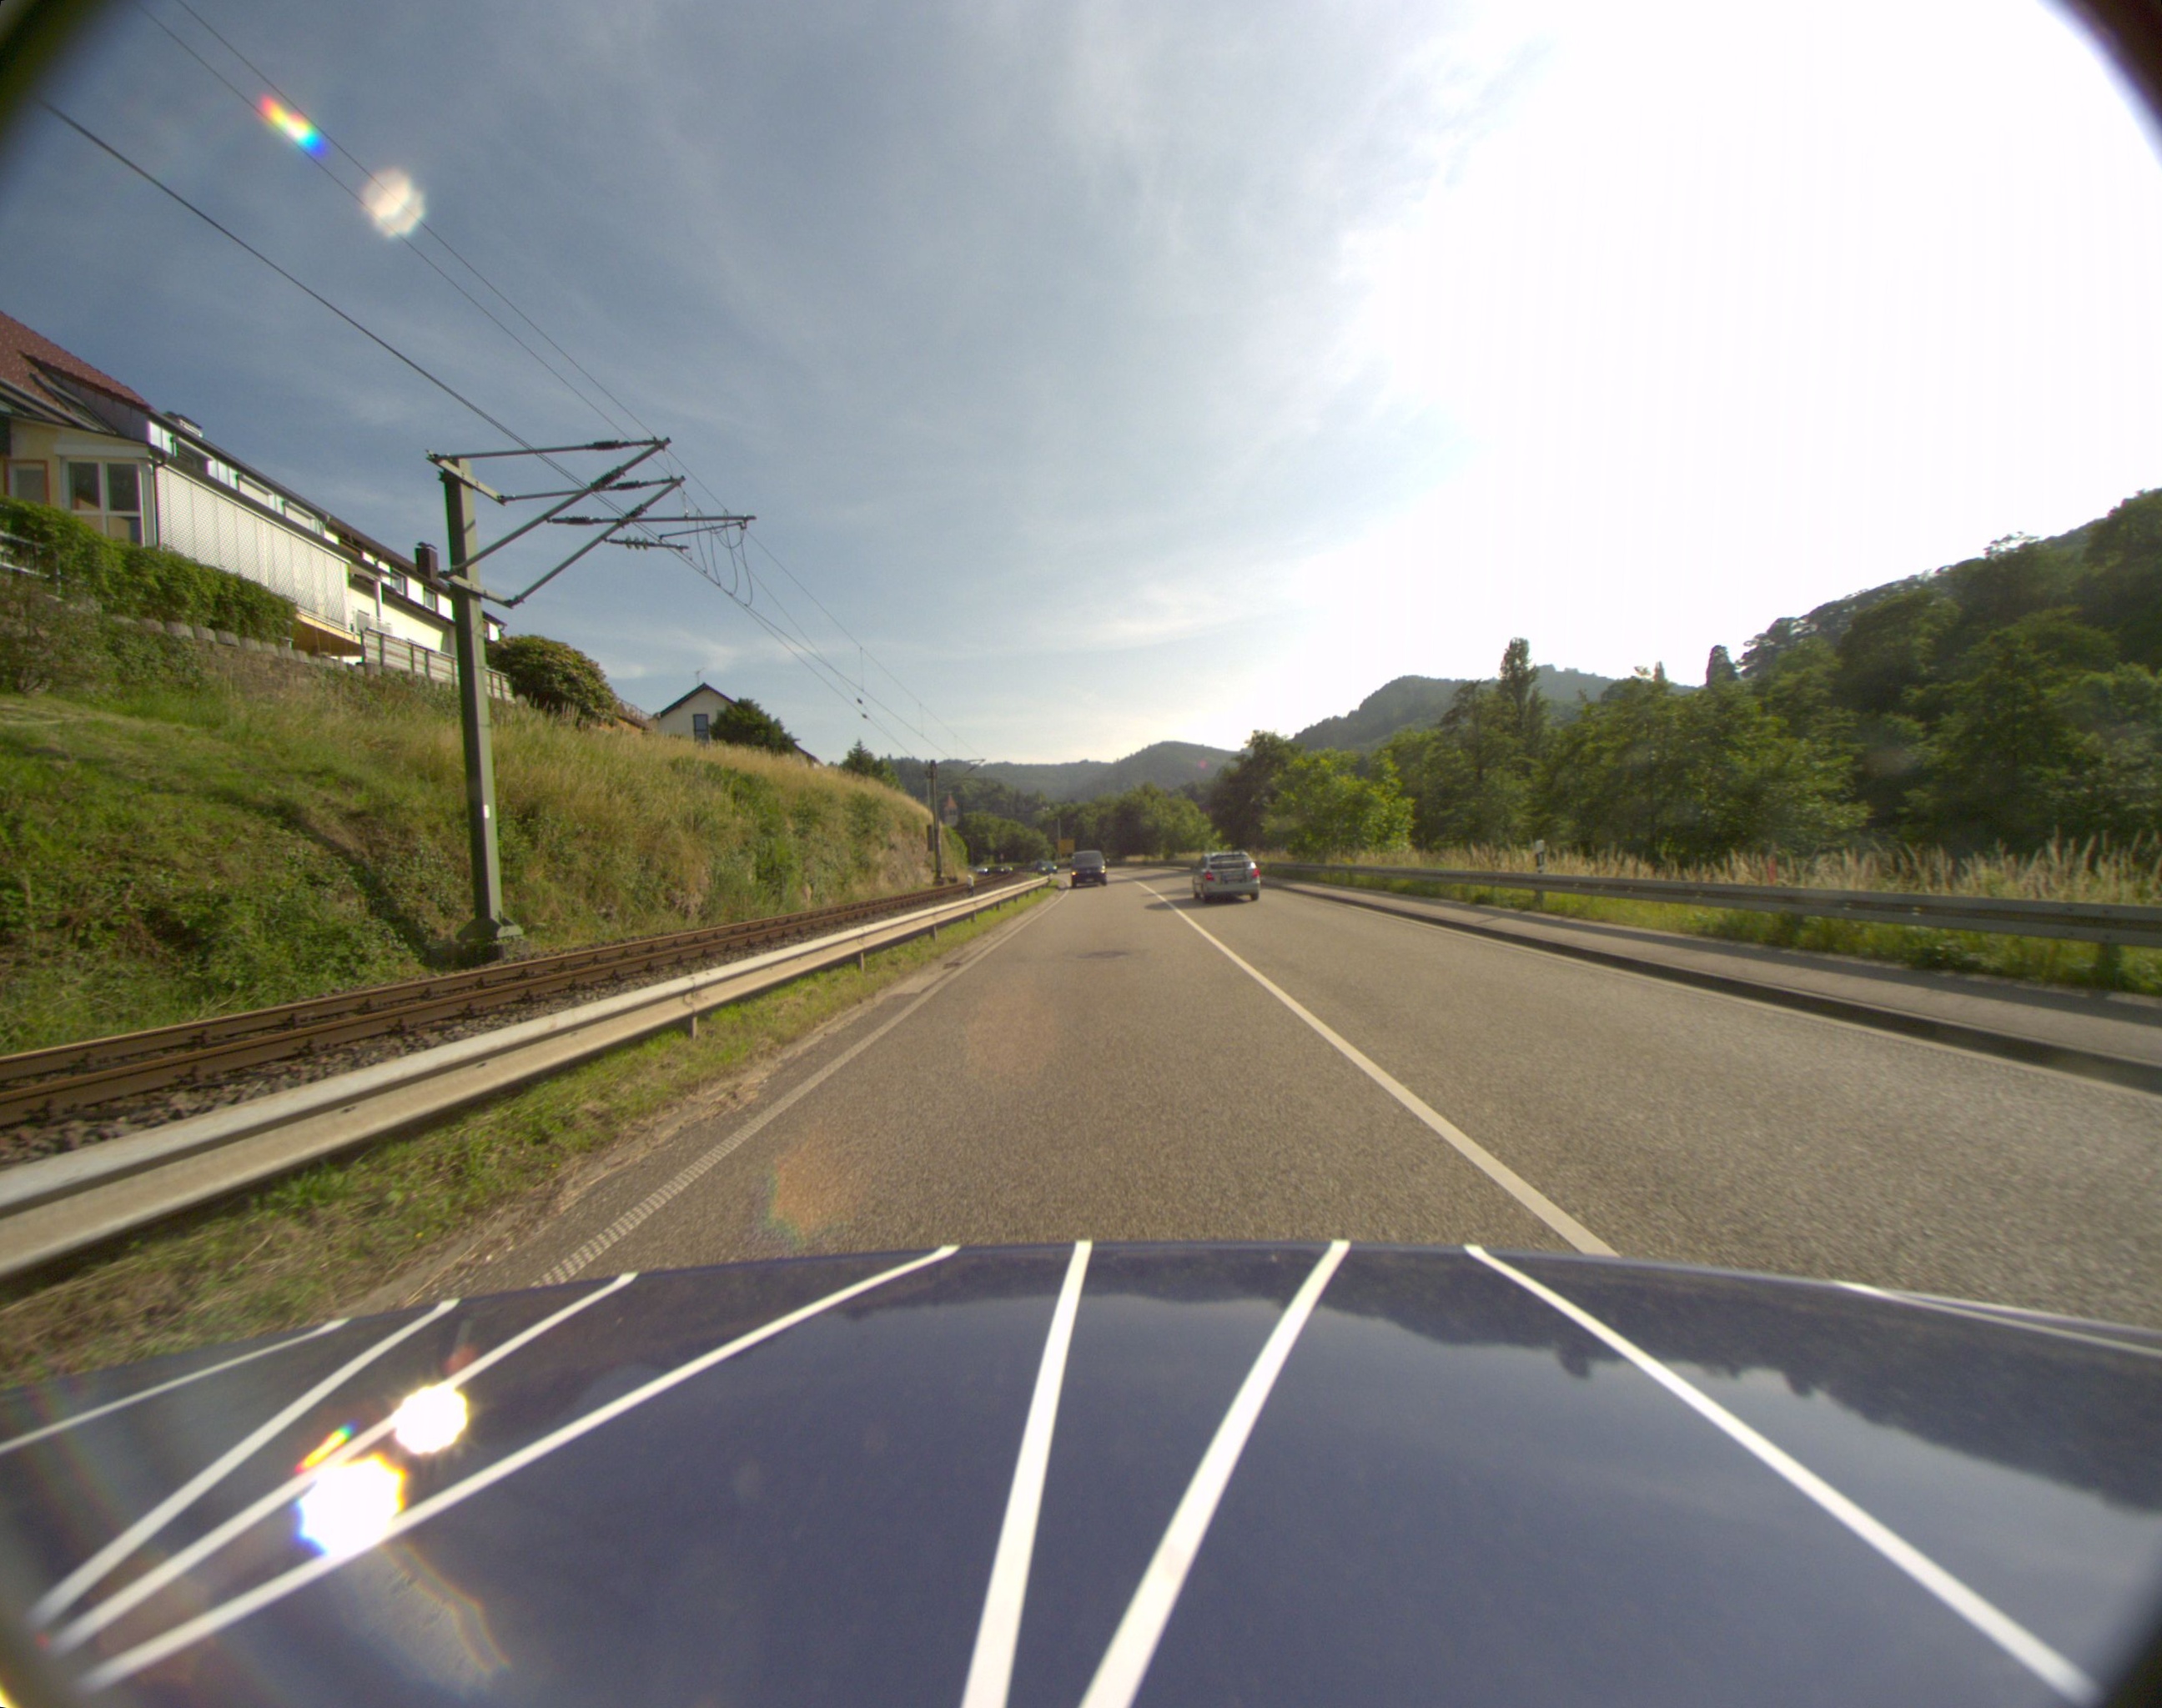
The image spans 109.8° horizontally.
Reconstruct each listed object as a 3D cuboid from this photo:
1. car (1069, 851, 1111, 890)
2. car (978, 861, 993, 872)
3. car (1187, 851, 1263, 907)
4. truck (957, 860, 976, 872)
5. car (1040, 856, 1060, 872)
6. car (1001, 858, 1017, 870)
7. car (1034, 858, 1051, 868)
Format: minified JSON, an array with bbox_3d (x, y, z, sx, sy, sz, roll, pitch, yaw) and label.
[{"bbox_3d":[0.547,0.857,42.022,2.018,1.905,4.312,-4,0,2],"label":"car"},{"bbox_3d":[-17.676,2.321,140.192,1.888,1.735,4.172,-4,1,-19],"label":"car"},{"bbox_3d":[4.345,0.708,23.461,1.581,1.470,4.000,-3,0,1],"label":"car"},{"bbox_3d":[-24.810,2.622,164.524,2.165,2.352,6.734,-7,1,-24],"label":"truck"},{"bbox_3d":[-3.727,1.160,90.723,1.886,1.735,4.176,-3,0,-8],"label":"car"},{"bbox_3d":[-11.708,1.641,123.385,1.887,1.735,4.174,-3,0,-14],"label":"car"},{"bbox_3d":[-6.025,1.433,119.239,1.758,1.557,3.995,-3,0,-16],"label":"car"}]
